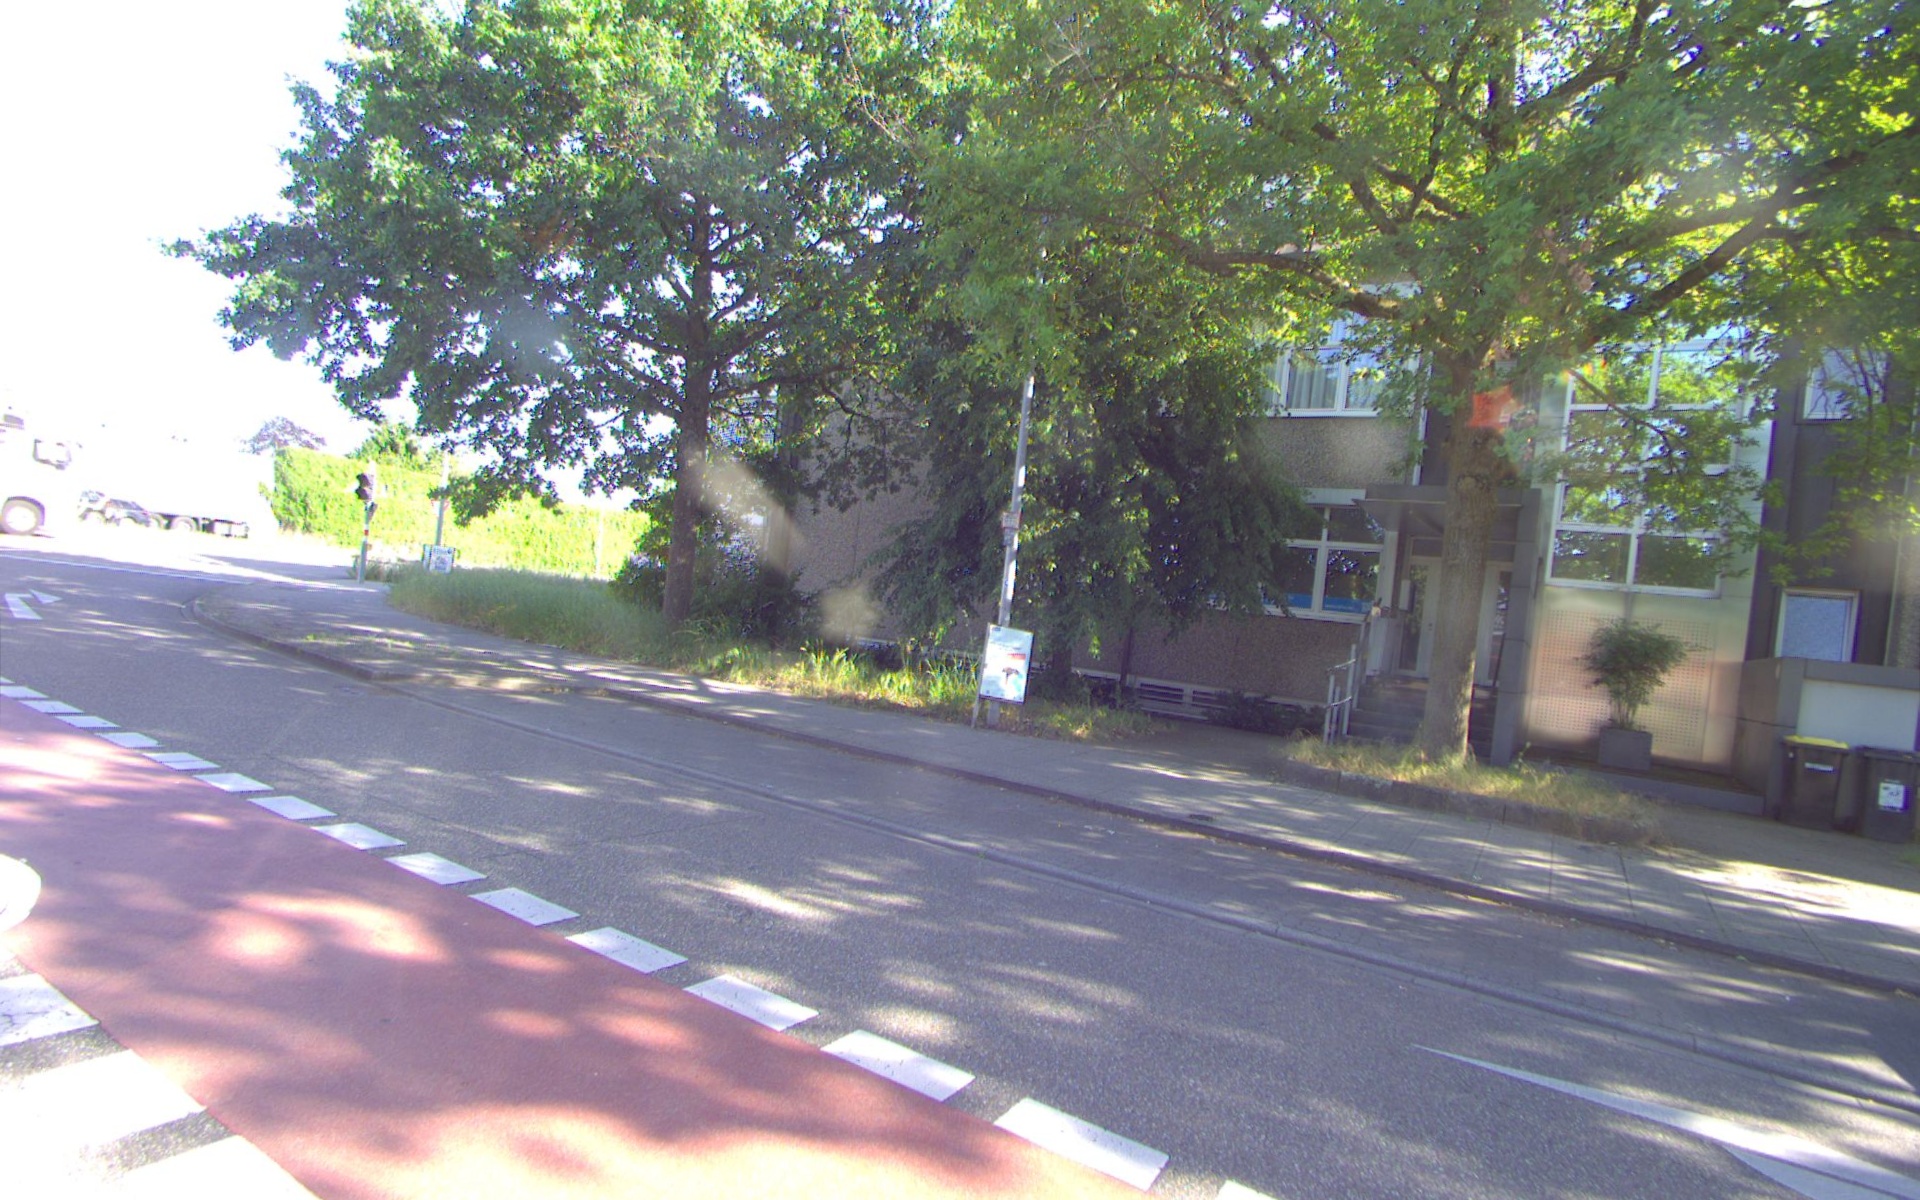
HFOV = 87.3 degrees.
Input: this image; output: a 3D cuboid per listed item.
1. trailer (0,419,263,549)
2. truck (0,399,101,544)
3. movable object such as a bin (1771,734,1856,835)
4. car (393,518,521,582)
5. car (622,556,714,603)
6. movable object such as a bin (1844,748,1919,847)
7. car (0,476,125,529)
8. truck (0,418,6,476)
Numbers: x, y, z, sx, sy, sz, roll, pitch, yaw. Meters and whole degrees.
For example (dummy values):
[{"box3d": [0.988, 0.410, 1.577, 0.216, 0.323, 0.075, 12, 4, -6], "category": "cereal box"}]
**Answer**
[{"box3d": [-37.911, -5.062, 43.693, 2.426, 4.078, 12.768, 7, -1, 25], "category": "trailer"}, {"box3d": [-27.890, -3.827, 28.340, 2.368, 3.740, 4.812, 7, 0, 27], "category": "truck"}, {"box3d": [10.188, 2.186, 12.031, 0.571, 1.045, 0.713, 7, 0, 31], "category": "movable object such as a bin"}, {"box3d": [-13.943, -1.344, 28.095, 1.433, 1.311, 3.412, 7, -2, 7], "category": "car"}, {"box3d": [-14.304, -0.972, 49.475, 1.438, 1.823, 4.105, 6, -1, 41], "category": "car"}, {"box3d": [10.799, 2.285, 11.718, 0.566, 1.019, 0.629, 6, -1, 31], "category": "movable object such as a bin"}, {"box3d": [-33.799, -3.650, 37.157, 1.548, 1.317, 4.170, 6, -2, 28], "category": "car"}, {"box3d": [-40.669, -5.526, 37.718, 2.429, 4.047, 6.415, 7, 0, 25], "category": "truck"}]
